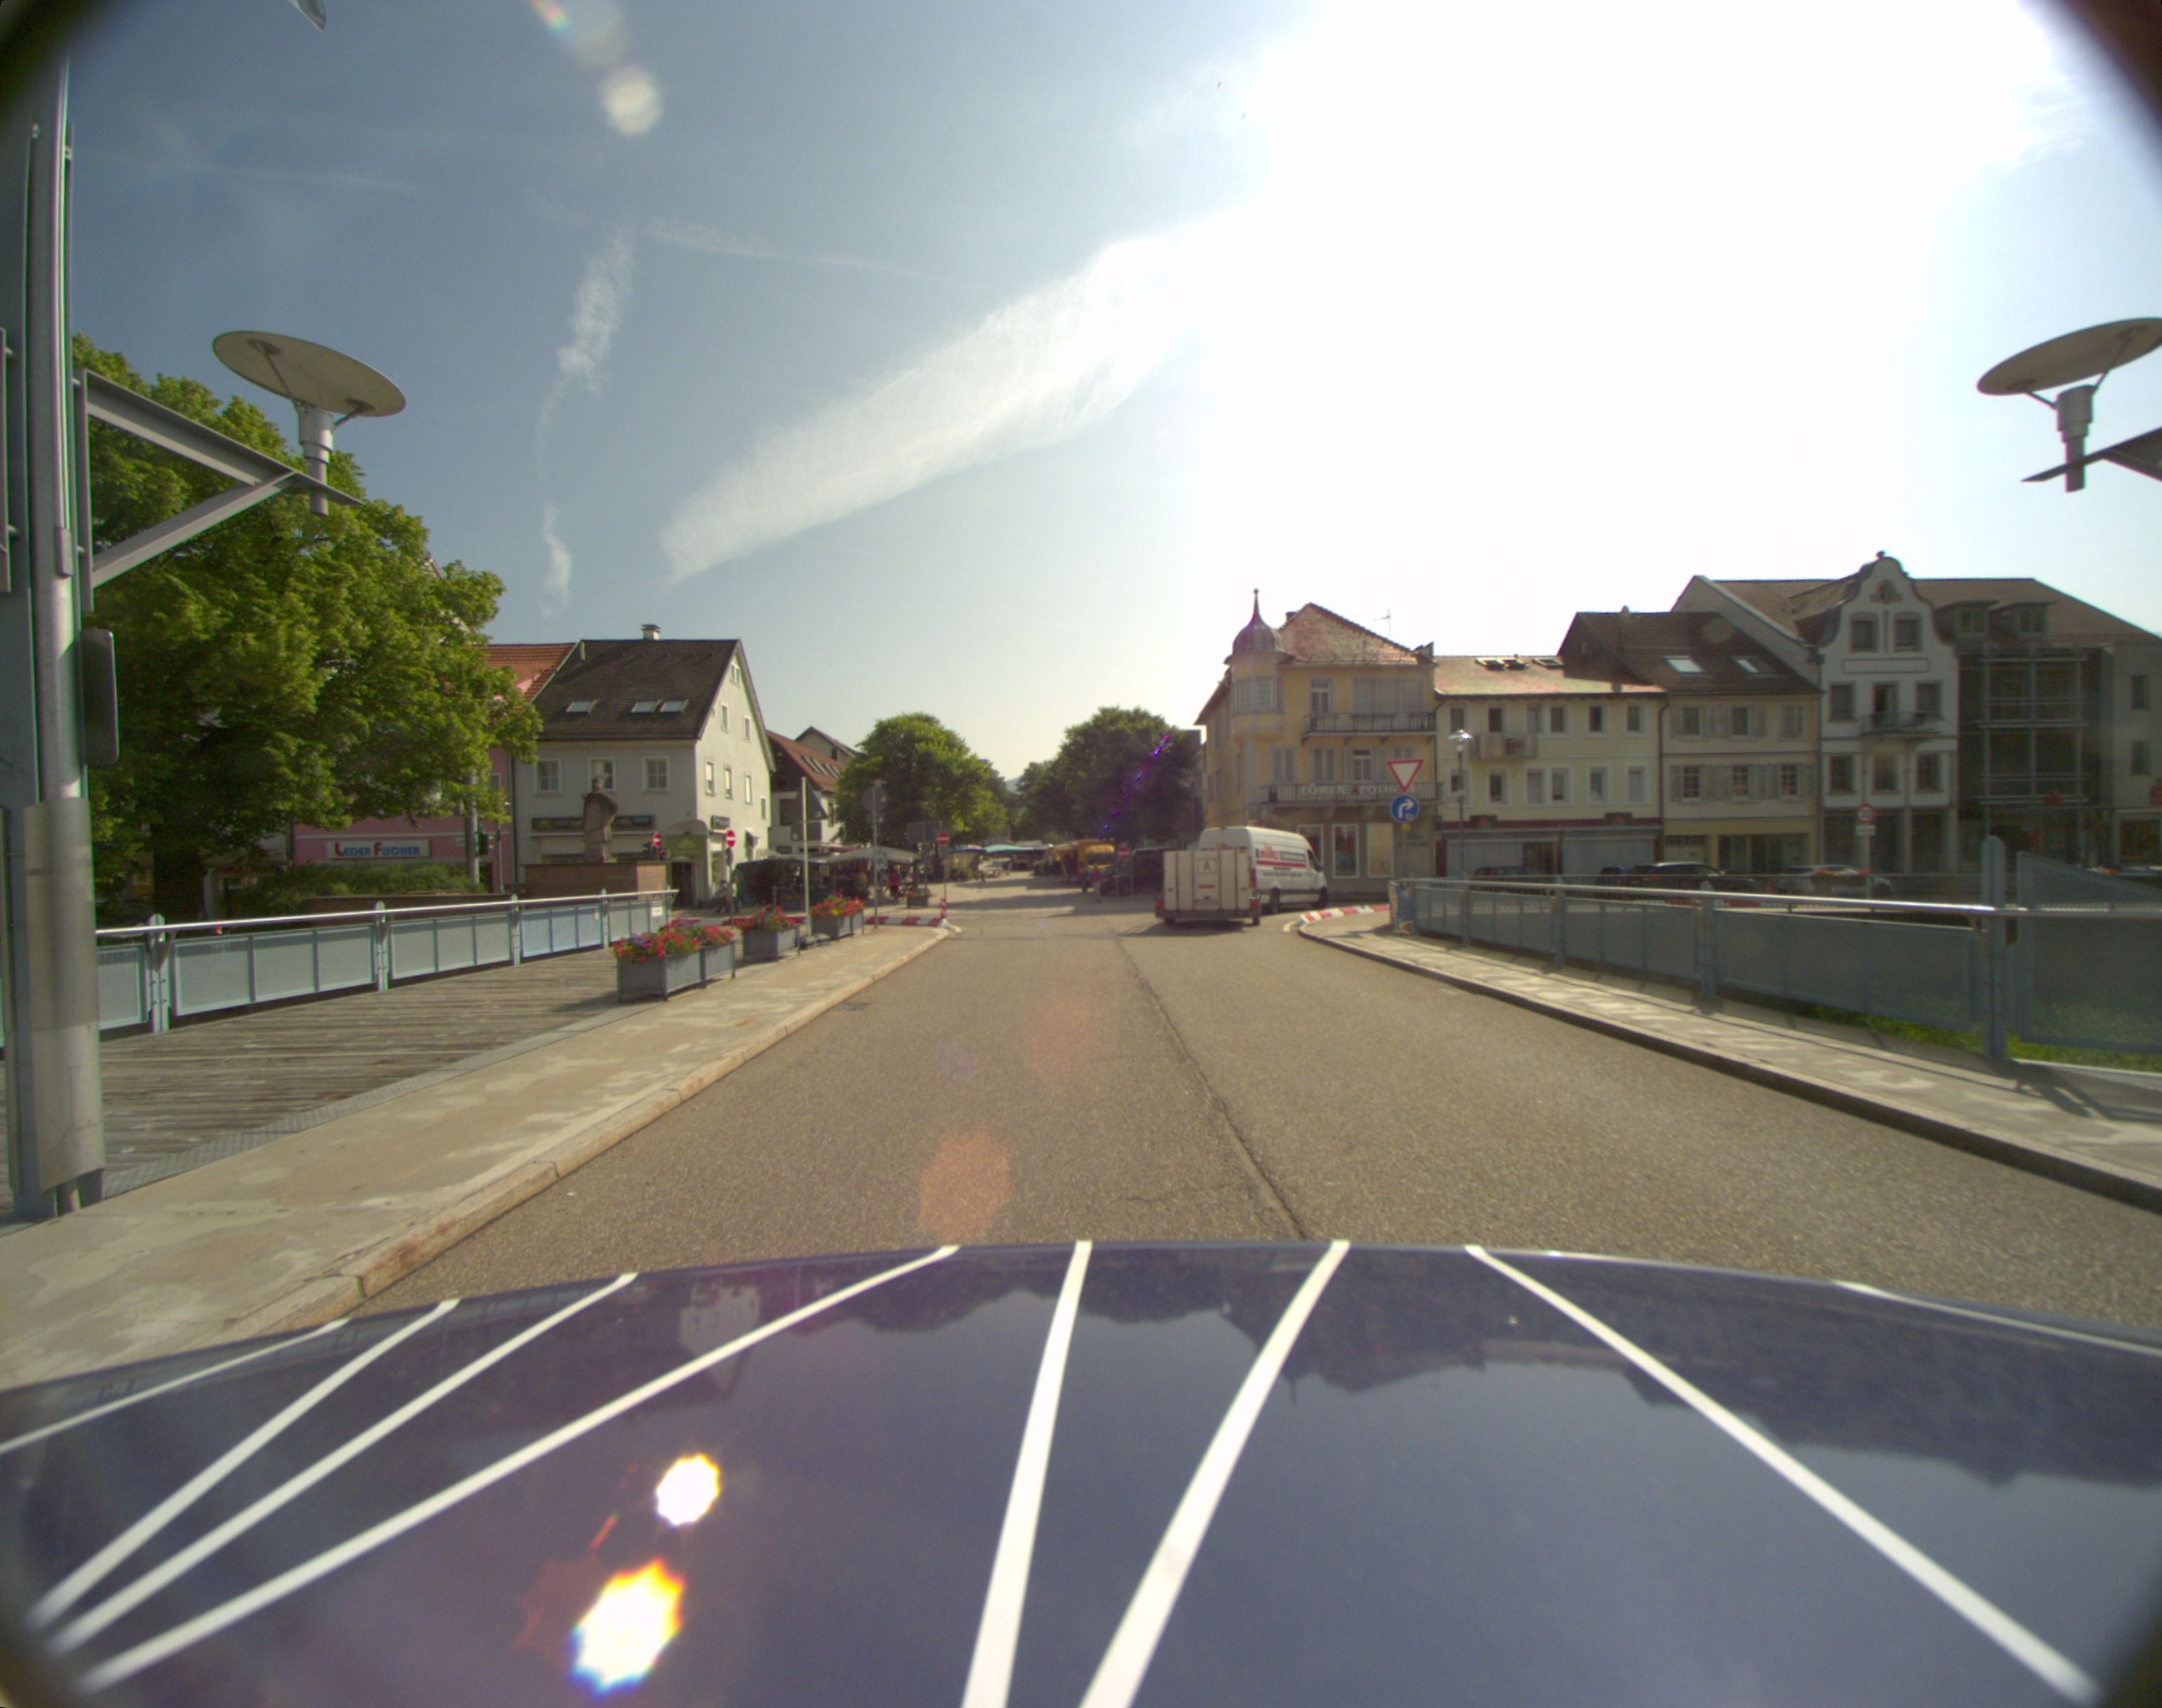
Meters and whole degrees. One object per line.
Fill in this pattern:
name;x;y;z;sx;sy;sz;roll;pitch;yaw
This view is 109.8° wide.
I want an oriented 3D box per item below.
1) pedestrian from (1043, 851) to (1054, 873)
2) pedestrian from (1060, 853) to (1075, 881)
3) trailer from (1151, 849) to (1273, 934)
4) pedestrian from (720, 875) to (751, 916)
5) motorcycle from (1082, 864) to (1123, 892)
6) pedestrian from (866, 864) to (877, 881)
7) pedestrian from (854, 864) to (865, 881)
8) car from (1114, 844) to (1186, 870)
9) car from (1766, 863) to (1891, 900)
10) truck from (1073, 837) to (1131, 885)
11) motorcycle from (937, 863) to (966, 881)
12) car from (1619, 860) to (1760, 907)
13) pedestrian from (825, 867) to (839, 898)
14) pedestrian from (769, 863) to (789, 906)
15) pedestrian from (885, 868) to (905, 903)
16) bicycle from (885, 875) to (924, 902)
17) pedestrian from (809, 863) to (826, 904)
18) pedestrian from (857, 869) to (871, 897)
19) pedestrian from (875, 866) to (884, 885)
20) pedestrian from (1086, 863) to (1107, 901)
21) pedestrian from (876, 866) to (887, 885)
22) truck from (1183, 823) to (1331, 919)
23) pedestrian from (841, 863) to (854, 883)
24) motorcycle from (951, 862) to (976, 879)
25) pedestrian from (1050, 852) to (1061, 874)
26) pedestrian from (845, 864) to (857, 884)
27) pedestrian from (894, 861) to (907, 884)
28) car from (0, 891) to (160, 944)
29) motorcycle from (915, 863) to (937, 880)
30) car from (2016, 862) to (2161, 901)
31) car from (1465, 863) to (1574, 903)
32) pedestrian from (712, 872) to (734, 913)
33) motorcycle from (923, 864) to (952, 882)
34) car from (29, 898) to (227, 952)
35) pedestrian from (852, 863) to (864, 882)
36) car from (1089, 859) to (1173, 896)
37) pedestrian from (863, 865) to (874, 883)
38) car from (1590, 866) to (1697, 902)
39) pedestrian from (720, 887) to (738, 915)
pedestrian;-2.593;0.643;60.941;0.682;1.672;0.582;-4;1;-17
pedestrian;-0.894;0.868;49.559;0.682;1.777;0.725;-4;2;-18
trailer;3.374;0.853;19.383;2.615;1.817;5.643;-1;-1;11
pedestrian;-14.624;1.761;32.179;0.858;1.623;0.788;-2;3;-1
motorcycle;1.146;1.270;40.701;2.087;1.353;0.888;-4;1;-4
pedestrian;-14.862;1.302;53.950;0.572;1.194;0.650;1;1;-1
pedestrian;-15.662;1.285;53.818;0.572;1.194;0.650;1;1;-1
car;5.198;0.228;57.268;5.072;1.880;1.999;-1;0;-7
car;32.141;1.167;32.715;3.793;1.439;1.752;-1;0;-4
truck;1.192;0.320;49.131;3.009;2.742;8.857;-2;1;-2
motorcycle;-9.464;1.307;55.616;2.002;1.189;0.644;1;1;11
car;22.690;1.076;28.428;3.969;1.551;1.684;-2;0;-2
pedestrian;-13.215;1.515;40.352;0.522;1.617;0.707;-1;0;-7
pedestrian;-14.249;1.430;35.813;0.707;1.959;0.508;-1;0;-6
pedestrian;-8.945;1.511;36.558;0.884;1.649;0.571;1;2;-13
bicycle;-8.793;1.704;37.892;1.863;1.228;0.616;-2;1;-15
pedestrian;-12.976;1.428;37.361;0.708;1.973;0.651;-1;0;-23
pedestrian;-12.047;1.586;42.202;0.622;1.509;0.632;-1;0;-10
pedestrian;-13.487;1.437;50.904;0.572;1.194;0.650;1;1;-13
pedestrian;0.703;1.282;34.682;0.678;1.705;0.618;-1;1;28
pedestrian;-13.095;1.403;49.829;0.700;1.194;0.571;1;2;-16
truck;5.957;0.569;24.795;2.106;2.682;7.149;-2;-2;35
pedestrian;-15.729;1.263;51.106;0.626;1.323;0.699;1;1;1
motorcycle;-8.778;1.224;56.561;1.999;1.189;0.645;2;1;39
pedestrian;-2.022;0.686;60.353;0.682;1.672;0.582;-4;2;-19
pedestrian;-15.747;1.337;52.033;0.626;1.323;0.699;1;1;1
pedestrian;-12.114;1.222;50.926;0.698;1.544;0.572;1;2;4
car;-39.885;2.491;30.173;4.144;1.730;1.710;-2;2;-5
motorcycle;-11.411;1.266;56.018;1.532;1.189;0.643;1;1;-3
car;40.168;1.087;30.152;4.198;1.348;1.756;-2;-1;-5
car;18.492;1.184;32.123;3.566;1.559;1.852;-1;0;-4
pedestrian;-15.556;1.672;33.002;0.789;1.714;0.706;-1;0;-26
motorcycle;-10.387;1.353;54.994;2.002;1.189;0.644;1;2;11
car;-34.272;2.516;27.438;4.497;1.557;1.824;-2;2;-4
pedestrian;-15.513;1.298;52.951;0.626;1.323;0.699;1;1;1
car;2.547;1.143;38.332;3.966;1.534;1.918;-4;2;-41
pedestrian;-14.389;1.363;51.450;0.572;1.194;0.650;1;1;-1
car;23.826;1.248;32.245;3.275;1.439;1.752;-1;0;-4
pedestrian;-15.078;1.989;32.518;0.623;1.153;0.515;-1;0;-30
